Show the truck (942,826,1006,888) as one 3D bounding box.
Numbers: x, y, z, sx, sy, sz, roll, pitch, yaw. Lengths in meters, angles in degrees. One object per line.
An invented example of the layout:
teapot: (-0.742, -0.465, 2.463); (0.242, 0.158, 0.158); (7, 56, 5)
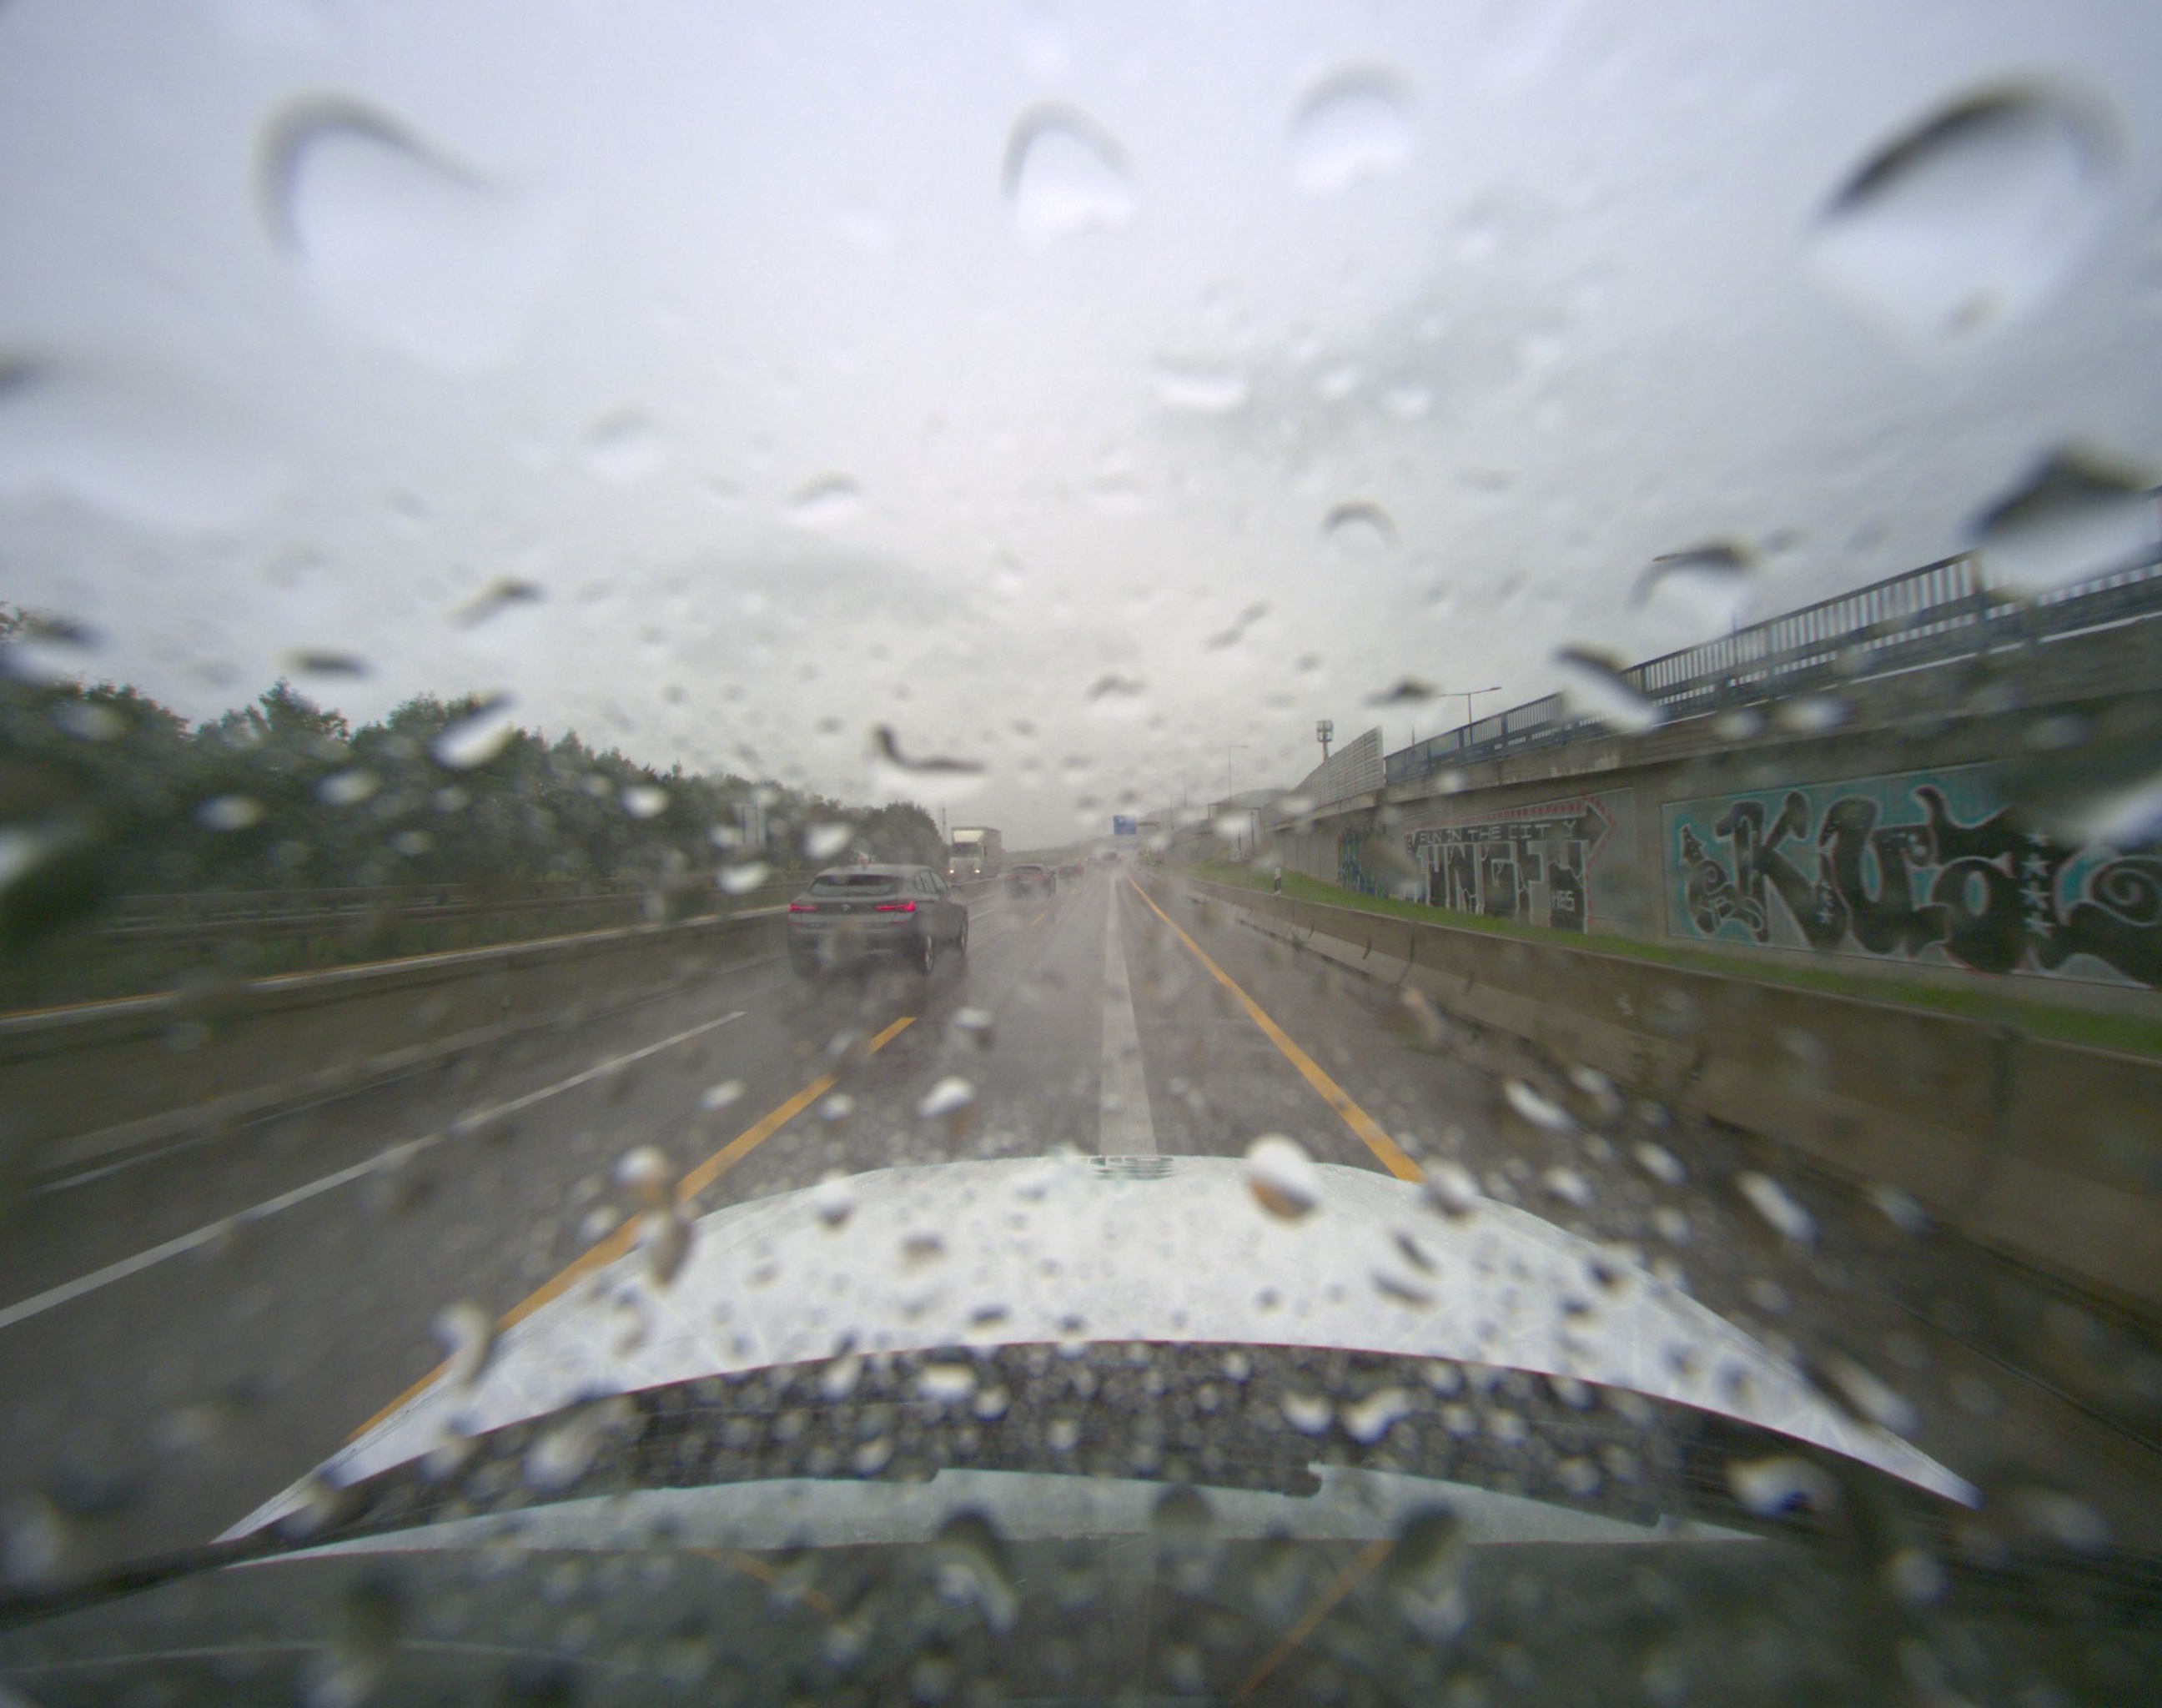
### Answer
truck: (-7.809, 0.338, 60.766); (2.993, 4.166, 9.834); (-2, -2, 2)

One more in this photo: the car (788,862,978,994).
car: (-2.727, 0.971, 12.405); (1.695, 1.598, 4.844); (0, -2, 0)

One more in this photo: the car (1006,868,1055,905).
car: (-2.117, 1.370, 35.065); (1.838, 1.491, 4.260); (0, -2, 0)

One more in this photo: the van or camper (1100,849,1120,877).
van or camper: (2.987, 0.981, 84.770); (1.990, 2.778, 4.048); (0, -2, 0)

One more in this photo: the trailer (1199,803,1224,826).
trailer: (17.364, -5.213, 109.214); (1.985, 2.106, 13.779); (0, -2, 4)

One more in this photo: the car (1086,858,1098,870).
car: (1.603, 1.443, 116.567); (1.562, 1.480, 2.821); (-3, -2, 0)

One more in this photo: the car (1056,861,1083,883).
car: (-0.818, 1.306, 60.540); (1.838, 1.491, 4.261); (-3, 0, 0)
